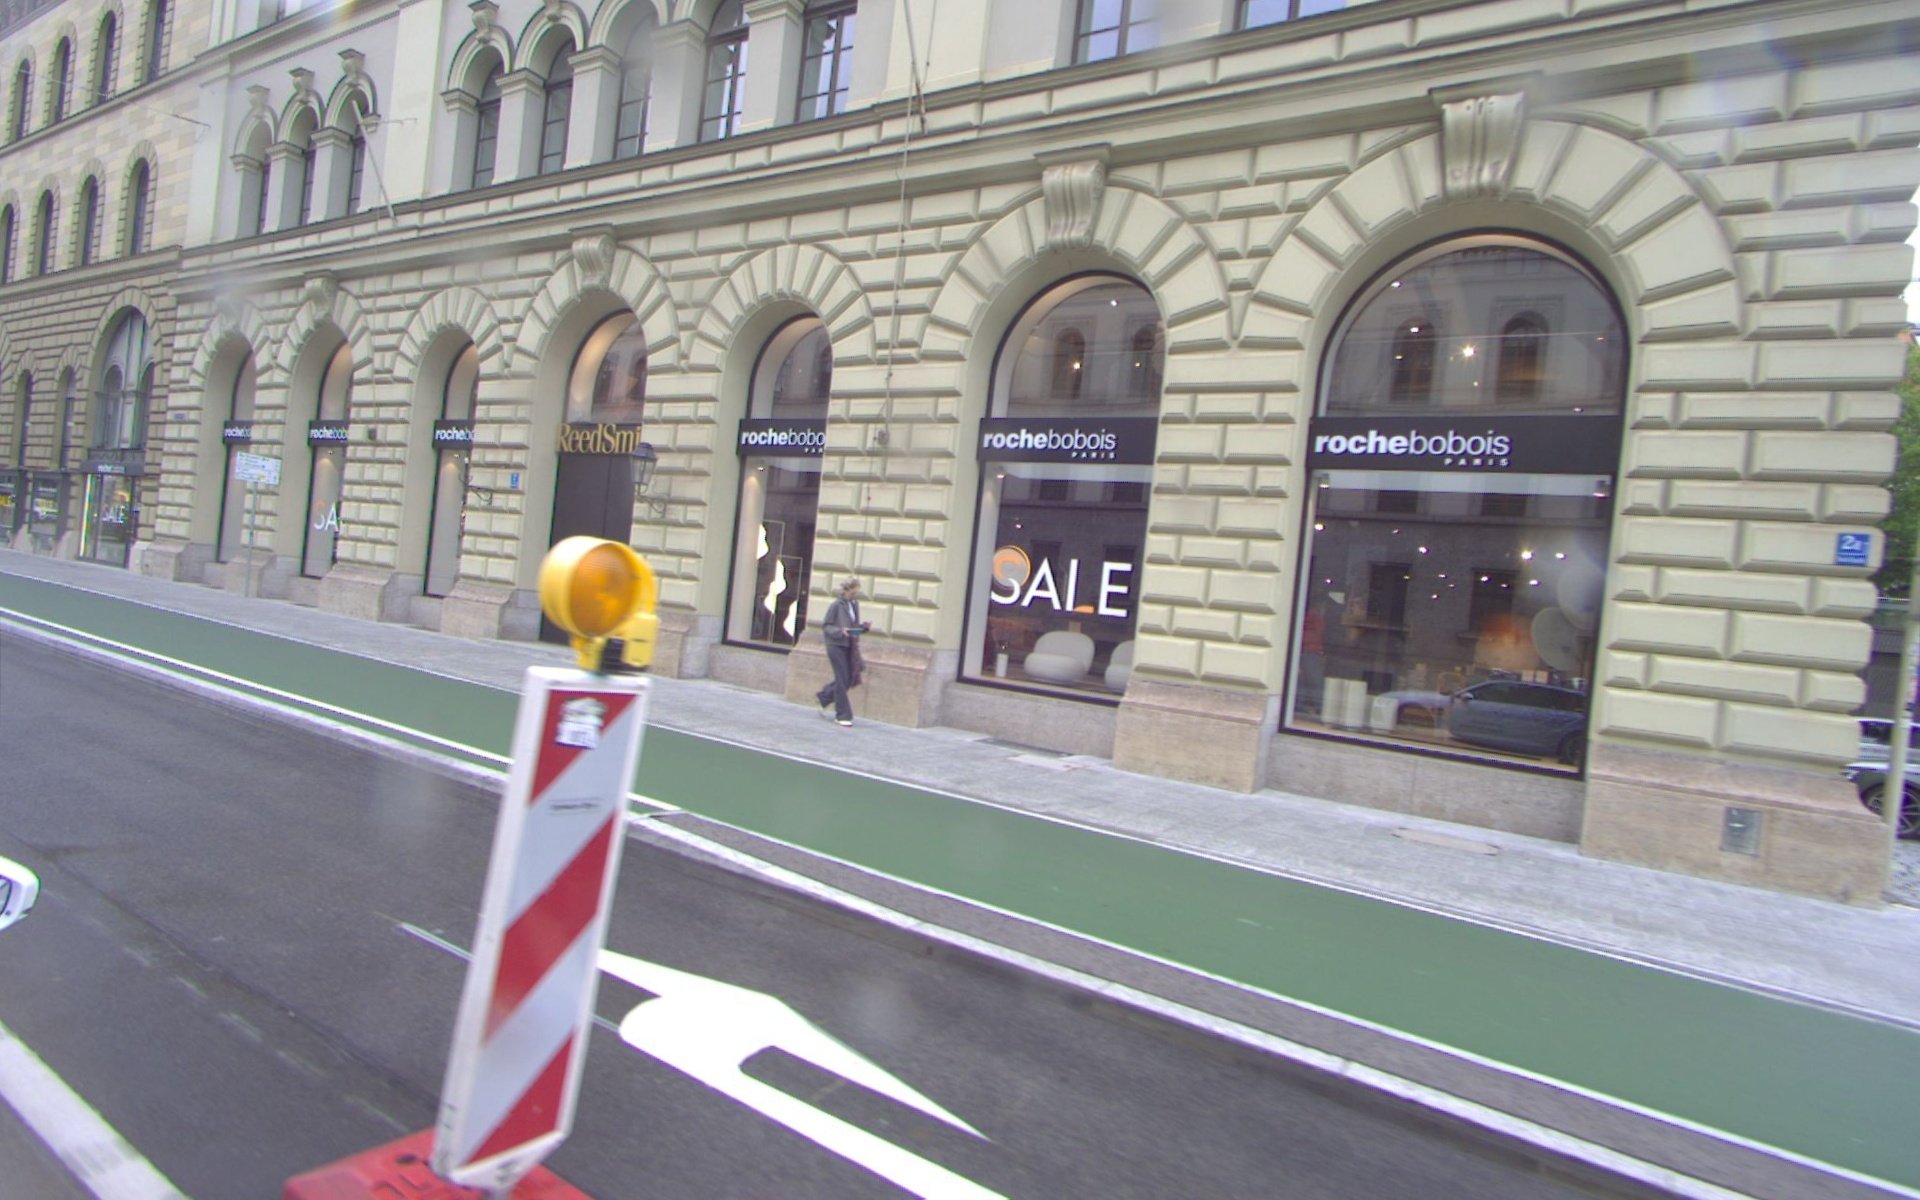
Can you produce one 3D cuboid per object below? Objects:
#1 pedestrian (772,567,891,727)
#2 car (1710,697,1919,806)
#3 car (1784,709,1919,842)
[{"bbox_3d":[-1.517,0.542,11.843,1.068,1.726,0.632,7,1,31],"label":"pedestrian"},{"bbox_3d":[16.208,2.777,18.314,3.812,1.444,1.693,6,0,31],"label":"car"},{"bbox_3d":[13.271,2.410,12.321,4.553,1.443,1.860,6,-1,31],"label":"car"}]
